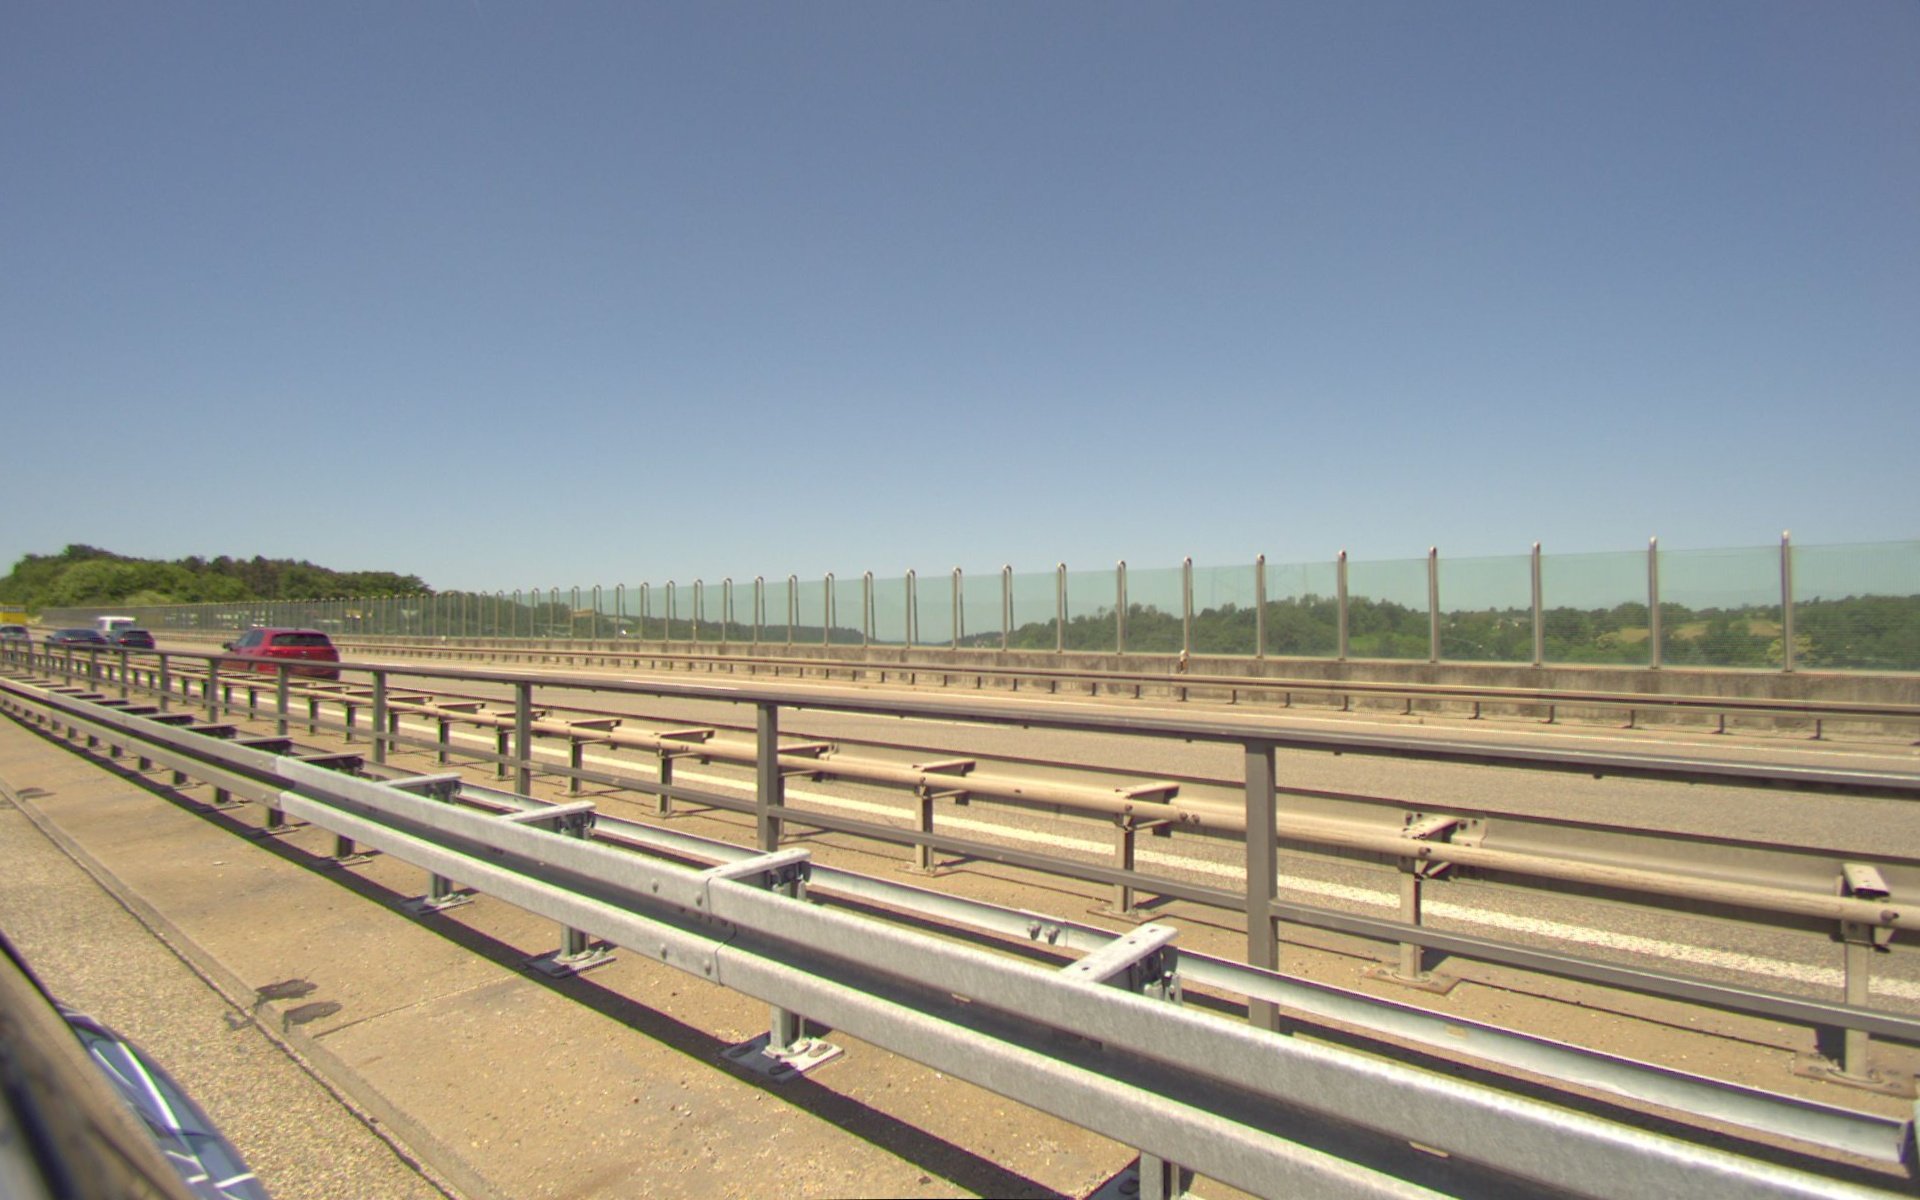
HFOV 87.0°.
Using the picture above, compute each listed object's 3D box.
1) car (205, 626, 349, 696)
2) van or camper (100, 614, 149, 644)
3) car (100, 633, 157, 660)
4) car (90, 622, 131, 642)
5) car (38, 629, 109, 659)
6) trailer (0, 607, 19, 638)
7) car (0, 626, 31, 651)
[{"bbox_3d":[-16.628,1.414,24.551,4.416,1.457,1.823,-1,0,41],"label":"car"},{"bbox_3d":[-65.998,2.262,79.882,5.533,2.228,1.973,-1,-4,41],"label":"van or camper"},{"bbox_3d":[-46.356,2.553,56.393,4.261,1.396,1.782,-1,-2,41],"label":"car"},{"bbox_3d":[-69.721,2.621,83.071,4.197,1.557,1.837,-1,-3,40],"label":"car"},{"bbox_3d":[-41.102,2.030,46.895,4.369,1.325,1.877,-1,-3,41],"label":"car"},{"bbox_3d":[-131.489,3.166,139.065,13.804,4.095,2.396,-2,-3,44],"label":"trailer"},{"bbox_3d":[-61.245,2.449,65.056,3.556,1.541,1.821,-2,-3,41],"label":"car"}]
